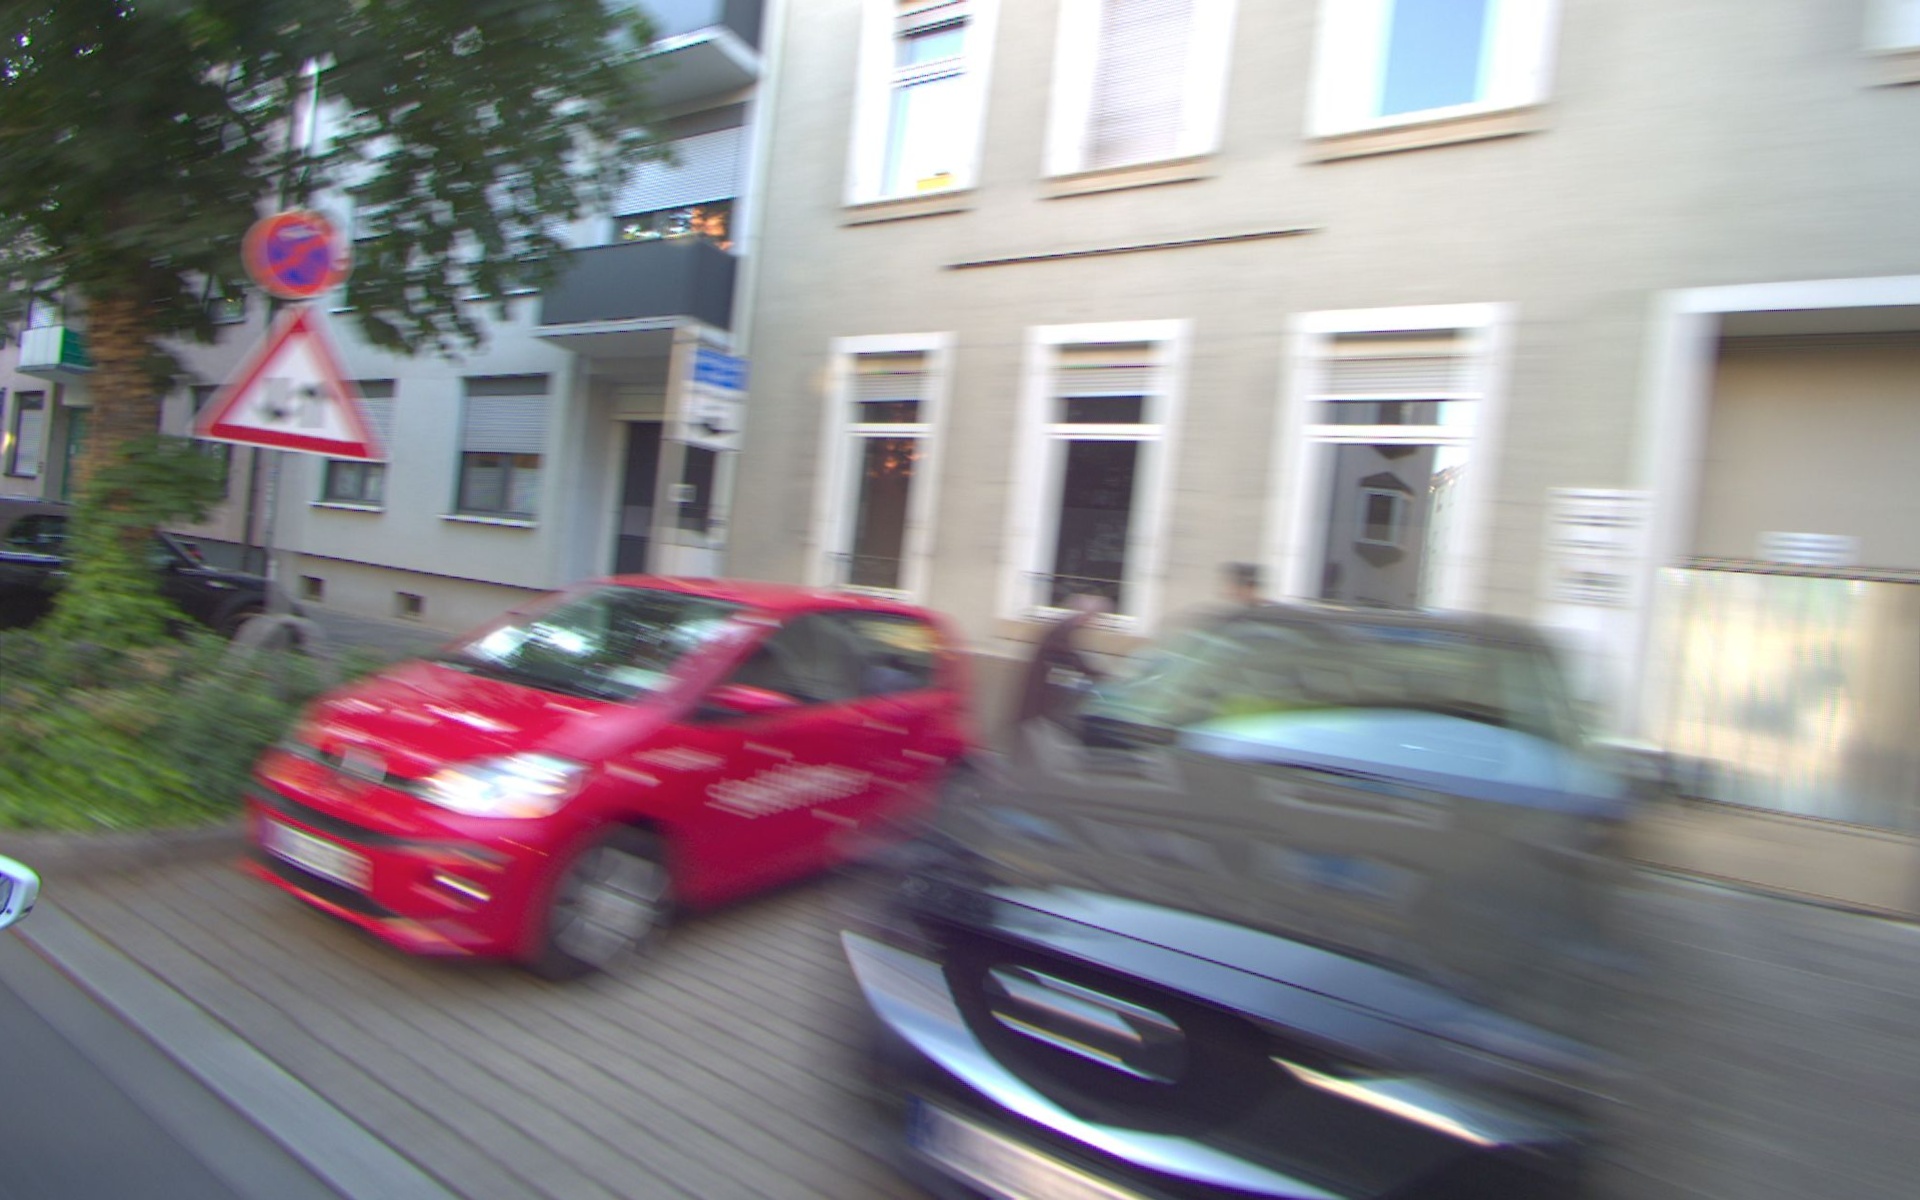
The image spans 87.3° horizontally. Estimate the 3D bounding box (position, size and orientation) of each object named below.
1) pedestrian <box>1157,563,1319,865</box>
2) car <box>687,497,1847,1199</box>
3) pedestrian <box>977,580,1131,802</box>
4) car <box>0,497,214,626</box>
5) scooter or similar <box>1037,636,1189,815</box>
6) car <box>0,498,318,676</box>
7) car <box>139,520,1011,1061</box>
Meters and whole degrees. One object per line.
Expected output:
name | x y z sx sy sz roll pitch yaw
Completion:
pedestrian | 1.743 0.691 6.416 0.661 1.759 0.691 6 1 1
car | 1.433 0.843 3.627 1.869 1.676 4.428 7 0 33
pedestrian | 0.732 0.677 7.810 0.818 1.556 0.655 7 1 33
car | -12.352 -0.589 12.319 2.002 1.439 4.714 7 1 32
scooter or similar | 1.147 0.908 7.531 0.818 1.168 0.655 7 1 33
car | -8.452 -0.152 9.501 1.867 1.471 3.487 7 1 30
car | -1.439 0.610 4.907 1.867 1.471 3.487 7 1 30
